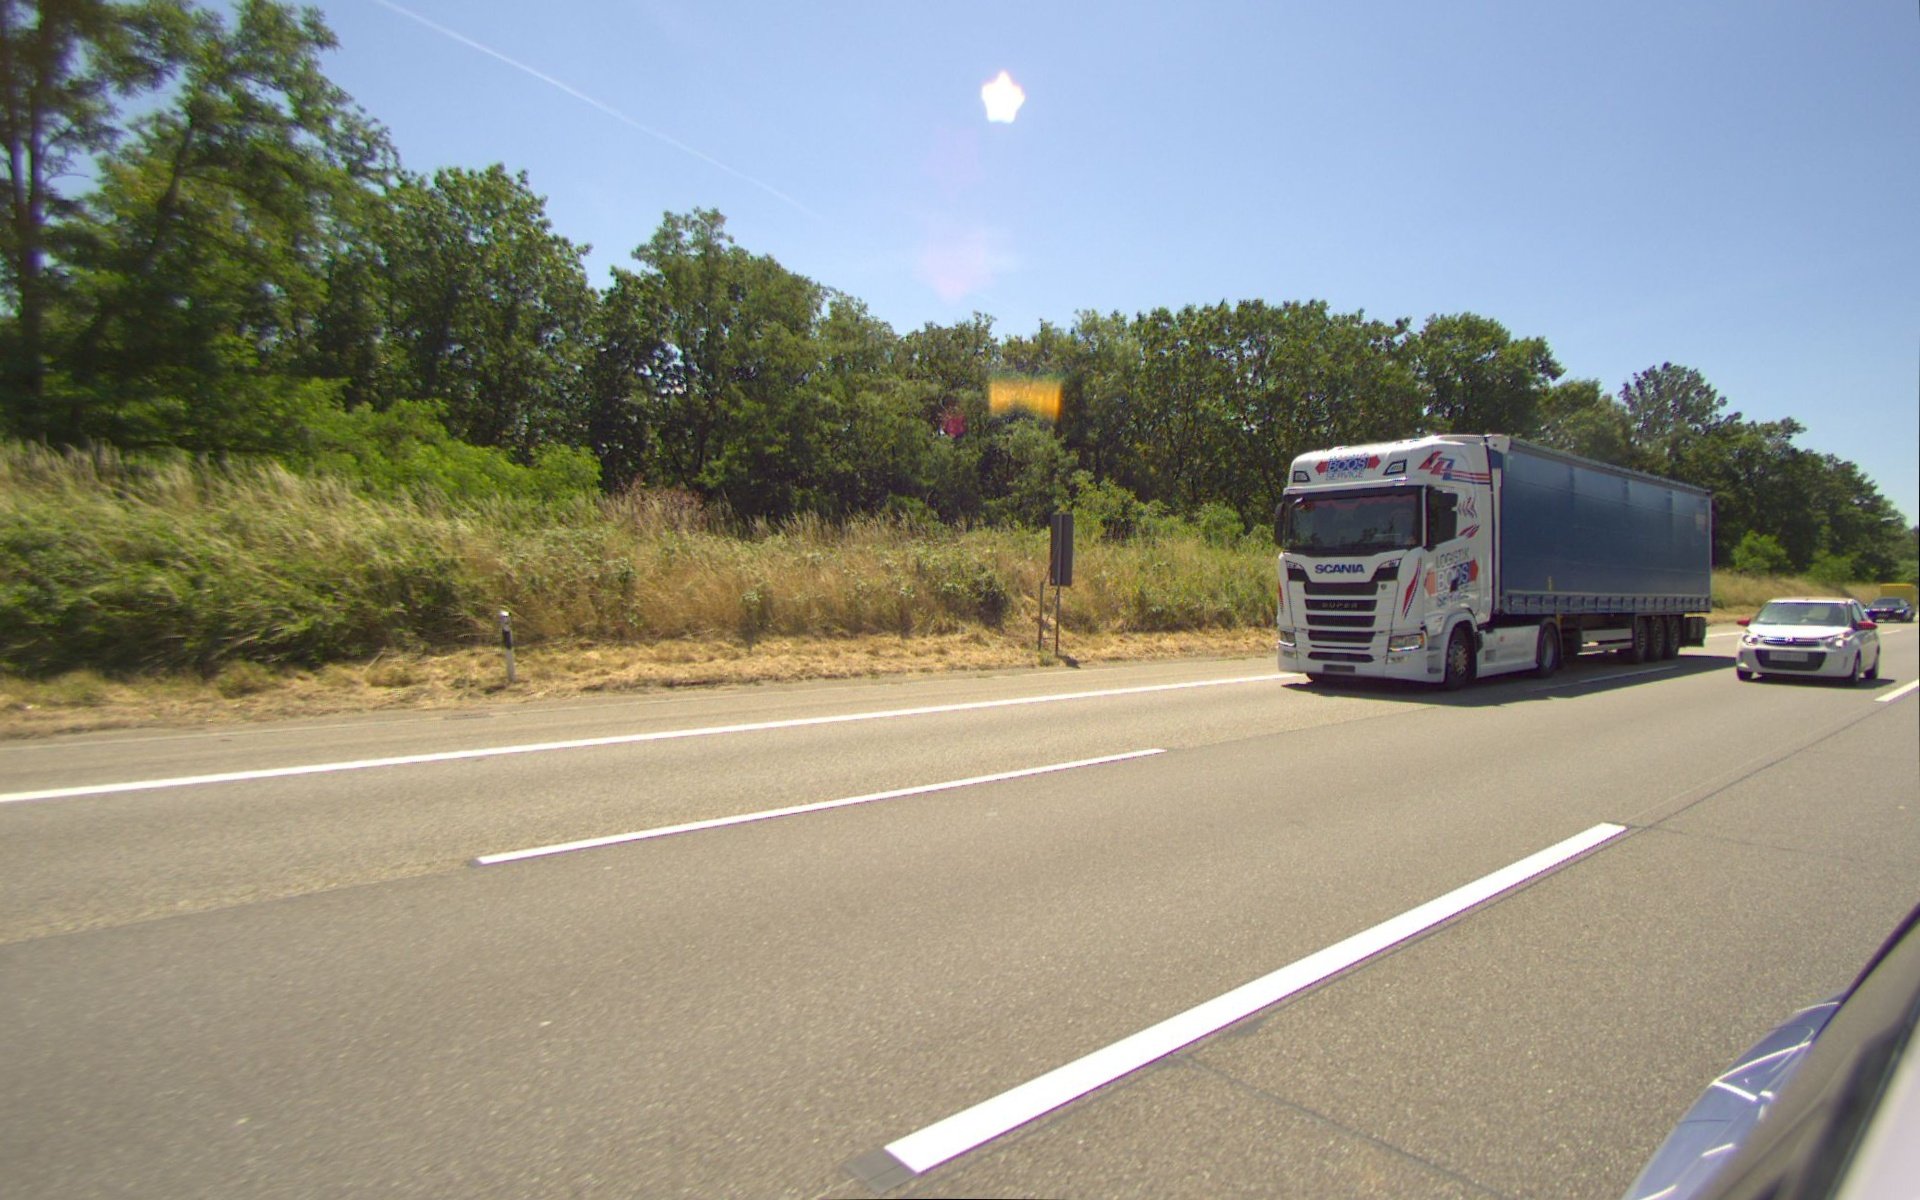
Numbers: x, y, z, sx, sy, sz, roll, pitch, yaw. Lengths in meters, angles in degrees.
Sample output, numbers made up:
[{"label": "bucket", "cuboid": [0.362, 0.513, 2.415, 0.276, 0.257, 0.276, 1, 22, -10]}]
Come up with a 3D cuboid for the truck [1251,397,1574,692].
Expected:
[{"label": "truck", "cuboid": [7.698, -0.795, 16.852, 6.066, 4.053, 2.601, -1, 0, -41]}]

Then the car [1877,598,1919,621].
[{"label": "car", "cuboid": [54.506, 0.525, 58.532, 3.294, 1.298, 1.844, -1, 1, -41]}]

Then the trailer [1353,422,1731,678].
[{"label": "trailer", "cuboid": [13.054, -0.863, 21.545, 13.835, 4.053, 2.601, -1, 0, -41]}]

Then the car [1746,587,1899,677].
[{"label": "car", "cuboid": [15.238, 0.498, 17.835, 3.294, 1.438, 1.580, -1, 0, -41]}]

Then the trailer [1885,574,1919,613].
[{"label": "trailer", "cuboid": [56.924, -0.398, 60.645, 3.141, 2.236, 1.847, -1, 0, -41]}]
